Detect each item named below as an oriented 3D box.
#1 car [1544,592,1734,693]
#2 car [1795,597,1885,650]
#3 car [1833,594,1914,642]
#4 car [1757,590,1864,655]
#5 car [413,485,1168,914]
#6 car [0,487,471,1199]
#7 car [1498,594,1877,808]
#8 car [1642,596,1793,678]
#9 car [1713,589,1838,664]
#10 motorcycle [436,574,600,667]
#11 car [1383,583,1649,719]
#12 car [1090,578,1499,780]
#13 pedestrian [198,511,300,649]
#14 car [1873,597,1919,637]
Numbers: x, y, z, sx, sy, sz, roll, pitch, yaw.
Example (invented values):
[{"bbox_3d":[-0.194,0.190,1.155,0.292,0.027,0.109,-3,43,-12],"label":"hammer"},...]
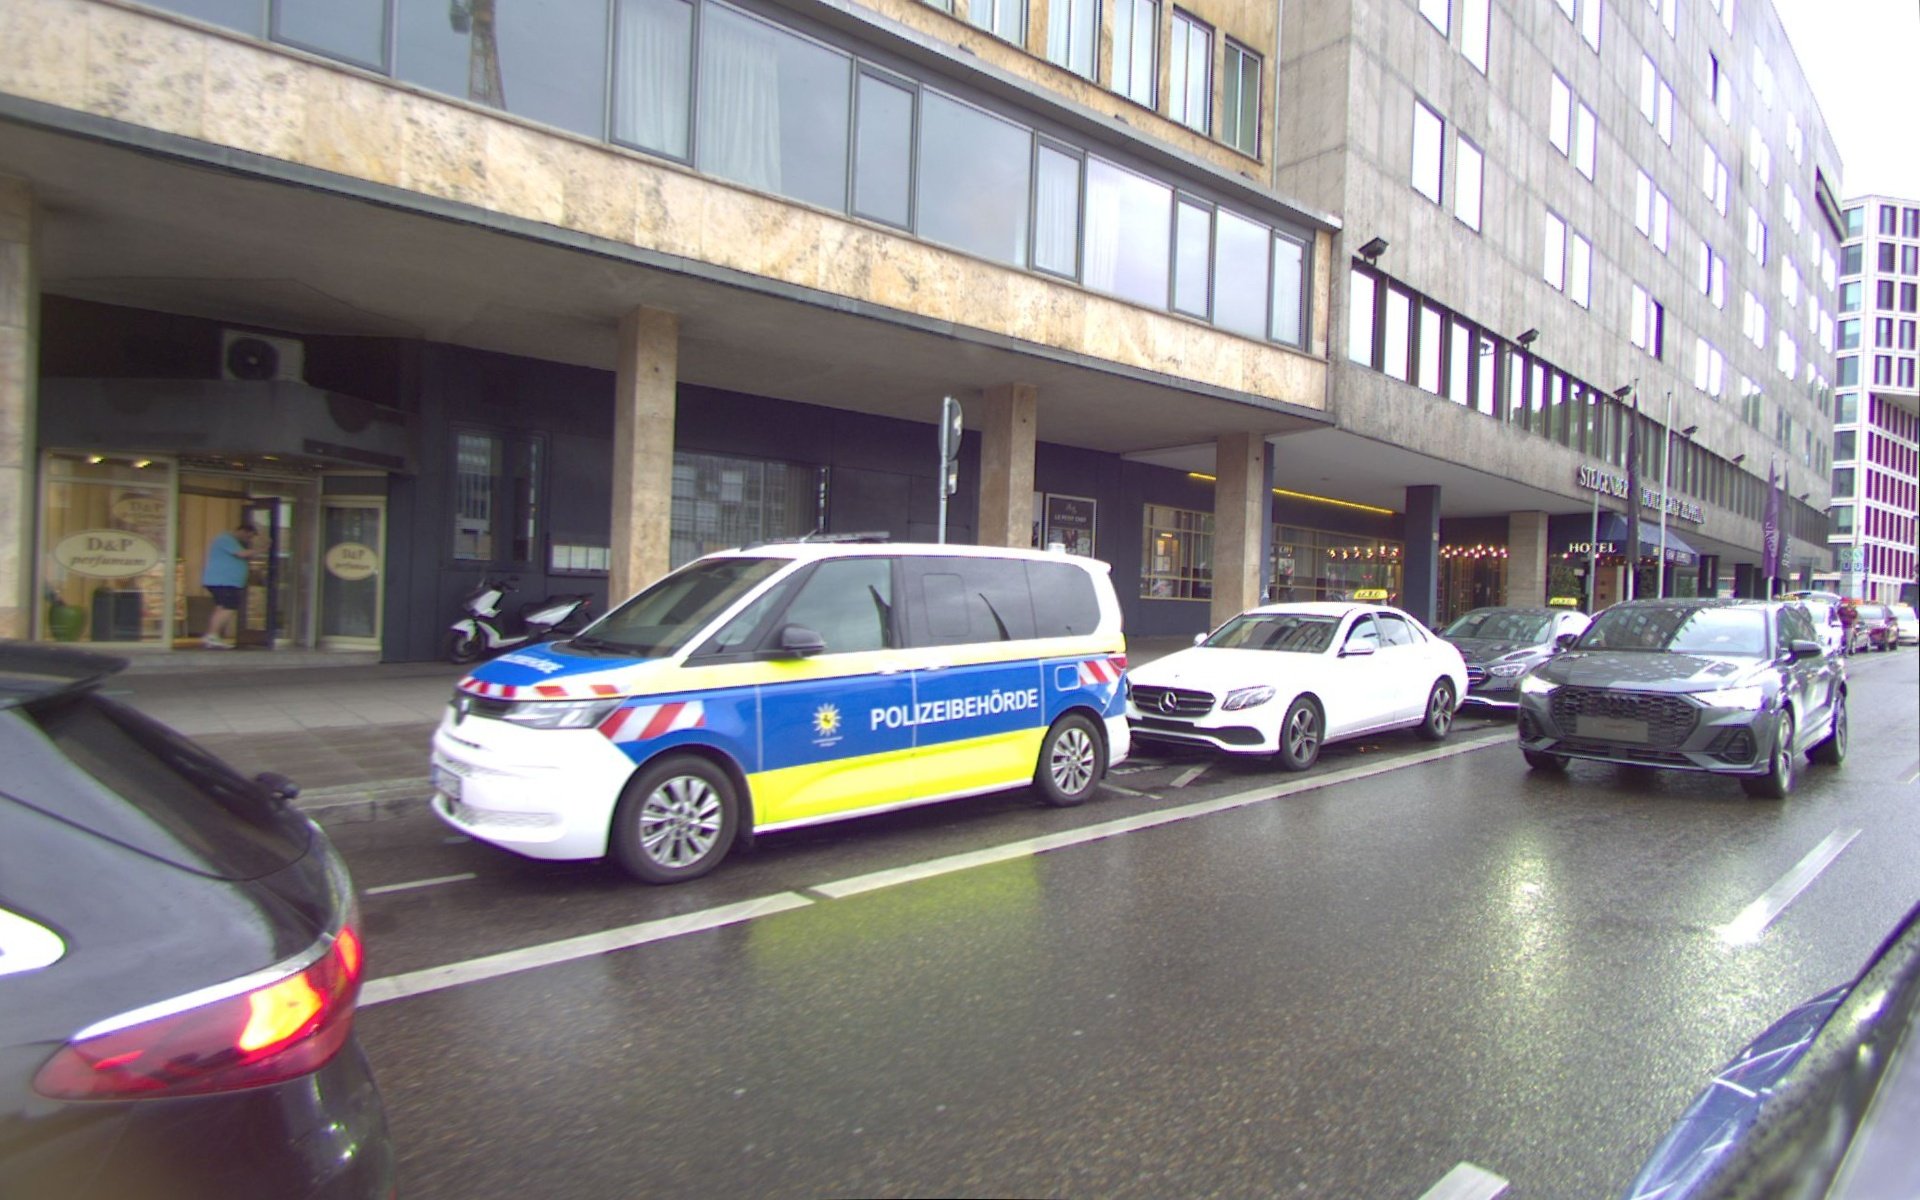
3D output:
[{"bbox_3d":[12.403,0.670,18.363,4.730,1.612,1.729,0,0,-41],"label":"car"},{"bbox_3d":[28.977,0.719,33.283,3.932,1.634,1.729,0,0,-41],"label":"car"},{"bbox_3d":[32.942,0.595,36.480,3.932,1.634,1.729,0,0,-41],"label":"car"},{"bbox_3d":[24.968,0.592,29.649,4.730,1.765,1.729,0,0,-41],"label":"car"},{"bbox_3d":[-0.828,0.437,6.910,4.850,1.944,1.877,0,0,-41],"label":"car"},{"bbox_3d":[-2.976,0.643,0.604,4.548,1.520,1.796,0,0,-41],"label":"car"},{"bbox_3d":[6.838,0.708,9.337,4.266,1.520,1.882,0,0,-40],"label":"car"},{"bbox_3d":[16.661,0.721,22.173,4.730,1.612,1.729,0,0,-41],"label":"car"},{"bbox_3d":[21.183,0.616,26.218,4.730,1.765,1.729,0,0,-41],"label":"car"},{"bbox_3d":[-6.226,0.267,14.310,2.063,1.233,0.569,0,0,-33],"label":"motorcycle"},{"bbox_3d":[8.128,0.608,14.586,4.730,1.658,1.877,0,0,-41],"label":"car"},{"bbox_3d":[3.714,0.635,10.667,4.924,1.658,1.877,0,0,-41],"label":"car"},{"bbox_3d":[-9.723,-0.267,13.892,1.114,1.813,0.801,0,0,-33],"label":"pedestrian"},{"bbox_3d":[40.482,0.681,43.263,3.932,1.634,1.729,0,0,-41],"label":"car"}]
